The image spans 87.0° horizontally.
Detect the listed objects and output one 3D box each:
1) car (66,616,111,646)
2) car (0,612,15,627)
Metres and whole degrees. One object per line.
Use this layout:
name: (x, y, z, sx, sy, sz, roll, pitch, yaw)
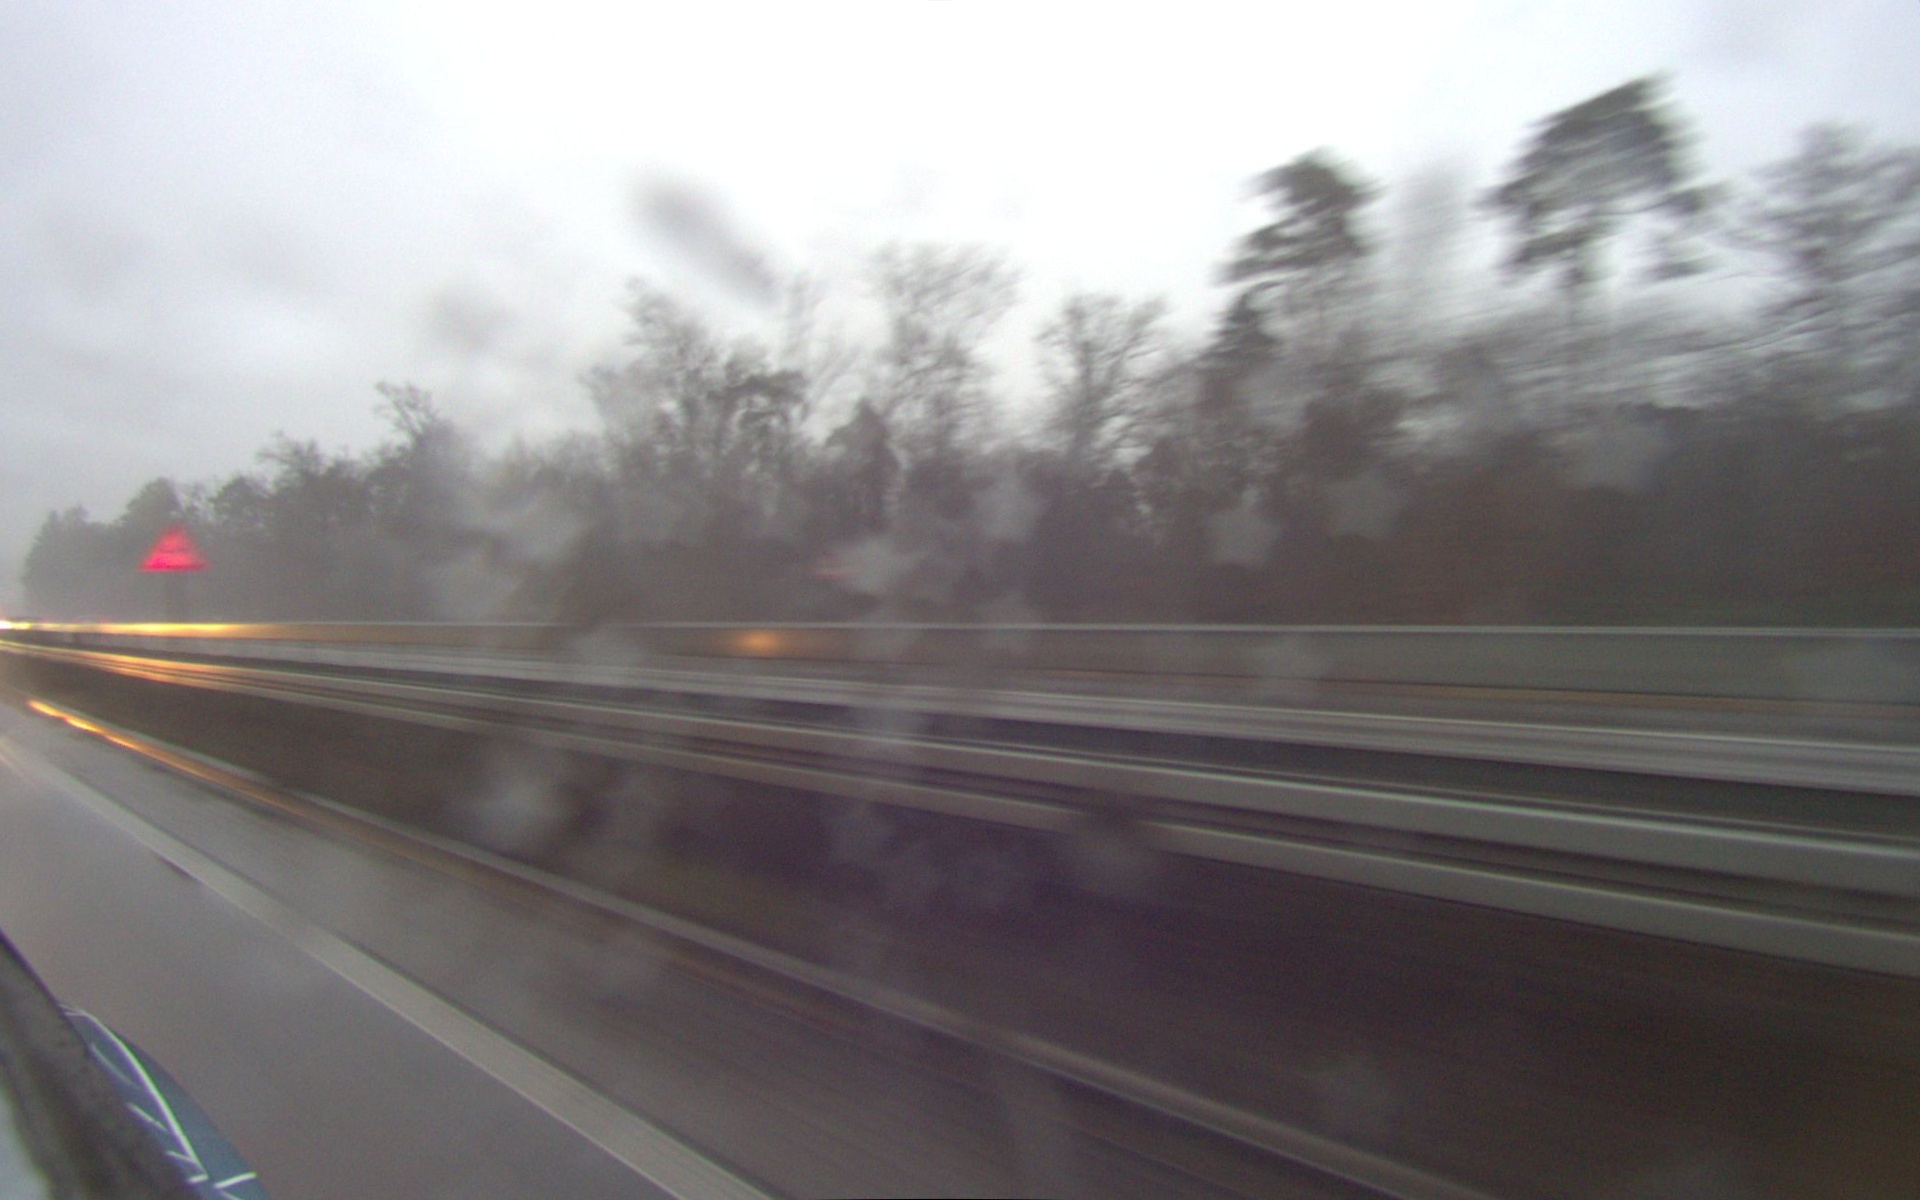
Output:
car: (-56.473, 1.984, 65.558, 3.999, 1.896, 1.660, -1, 0, 42)
car: (-100.335, 2.066, 105.934, 4.721, 1.496, 1.734, -1, 0, 43)
